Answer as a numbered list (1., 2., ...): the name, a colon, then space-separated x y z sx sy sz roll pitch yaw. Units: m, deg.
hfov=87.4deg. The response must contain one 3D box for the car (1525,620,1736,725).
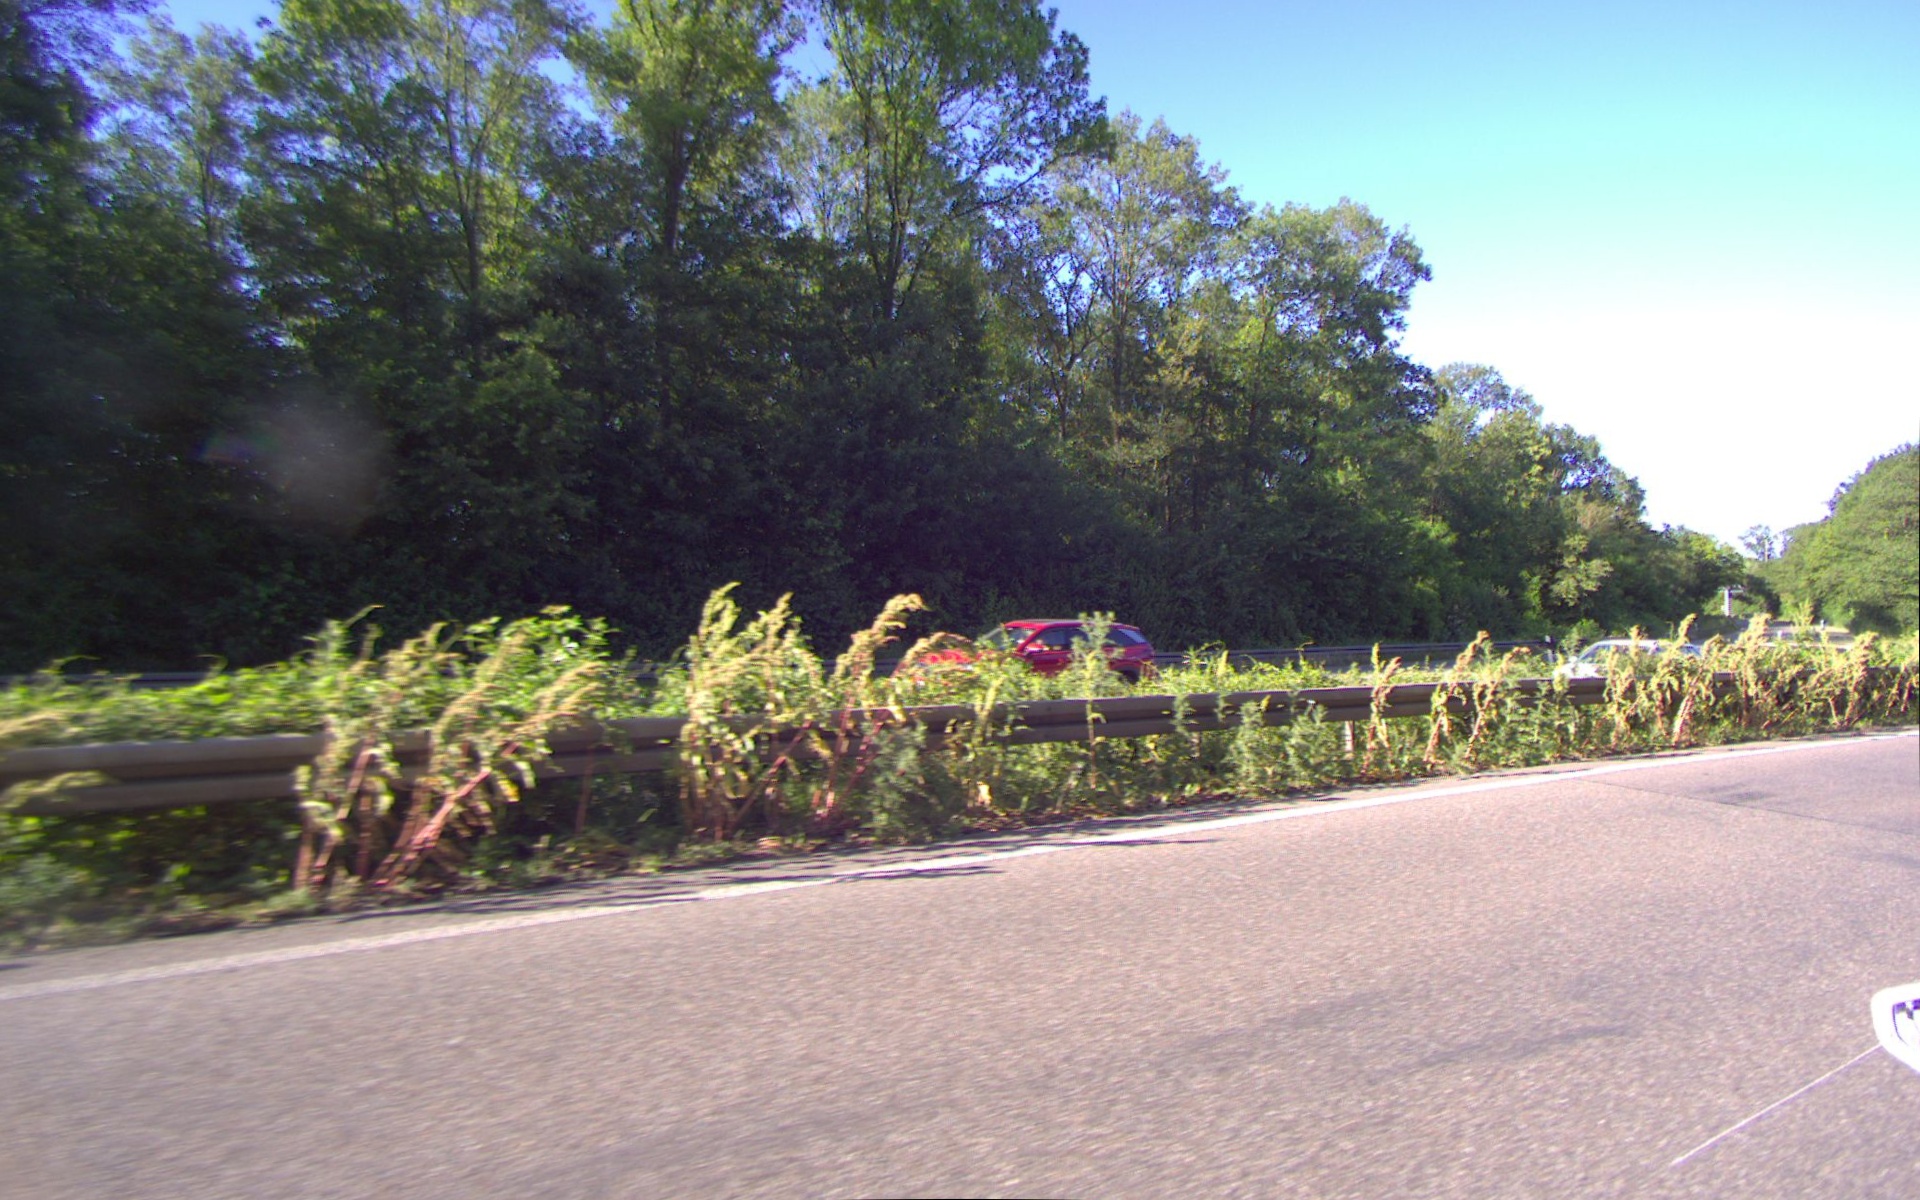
1. car: 14.501 1.458 21.669 4.481 2.040 2.075 1 -1 -31

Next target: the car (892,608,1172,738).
1. car: 1.343 1.240 18.144 4.707 2.040 2.037 2 0 -31
